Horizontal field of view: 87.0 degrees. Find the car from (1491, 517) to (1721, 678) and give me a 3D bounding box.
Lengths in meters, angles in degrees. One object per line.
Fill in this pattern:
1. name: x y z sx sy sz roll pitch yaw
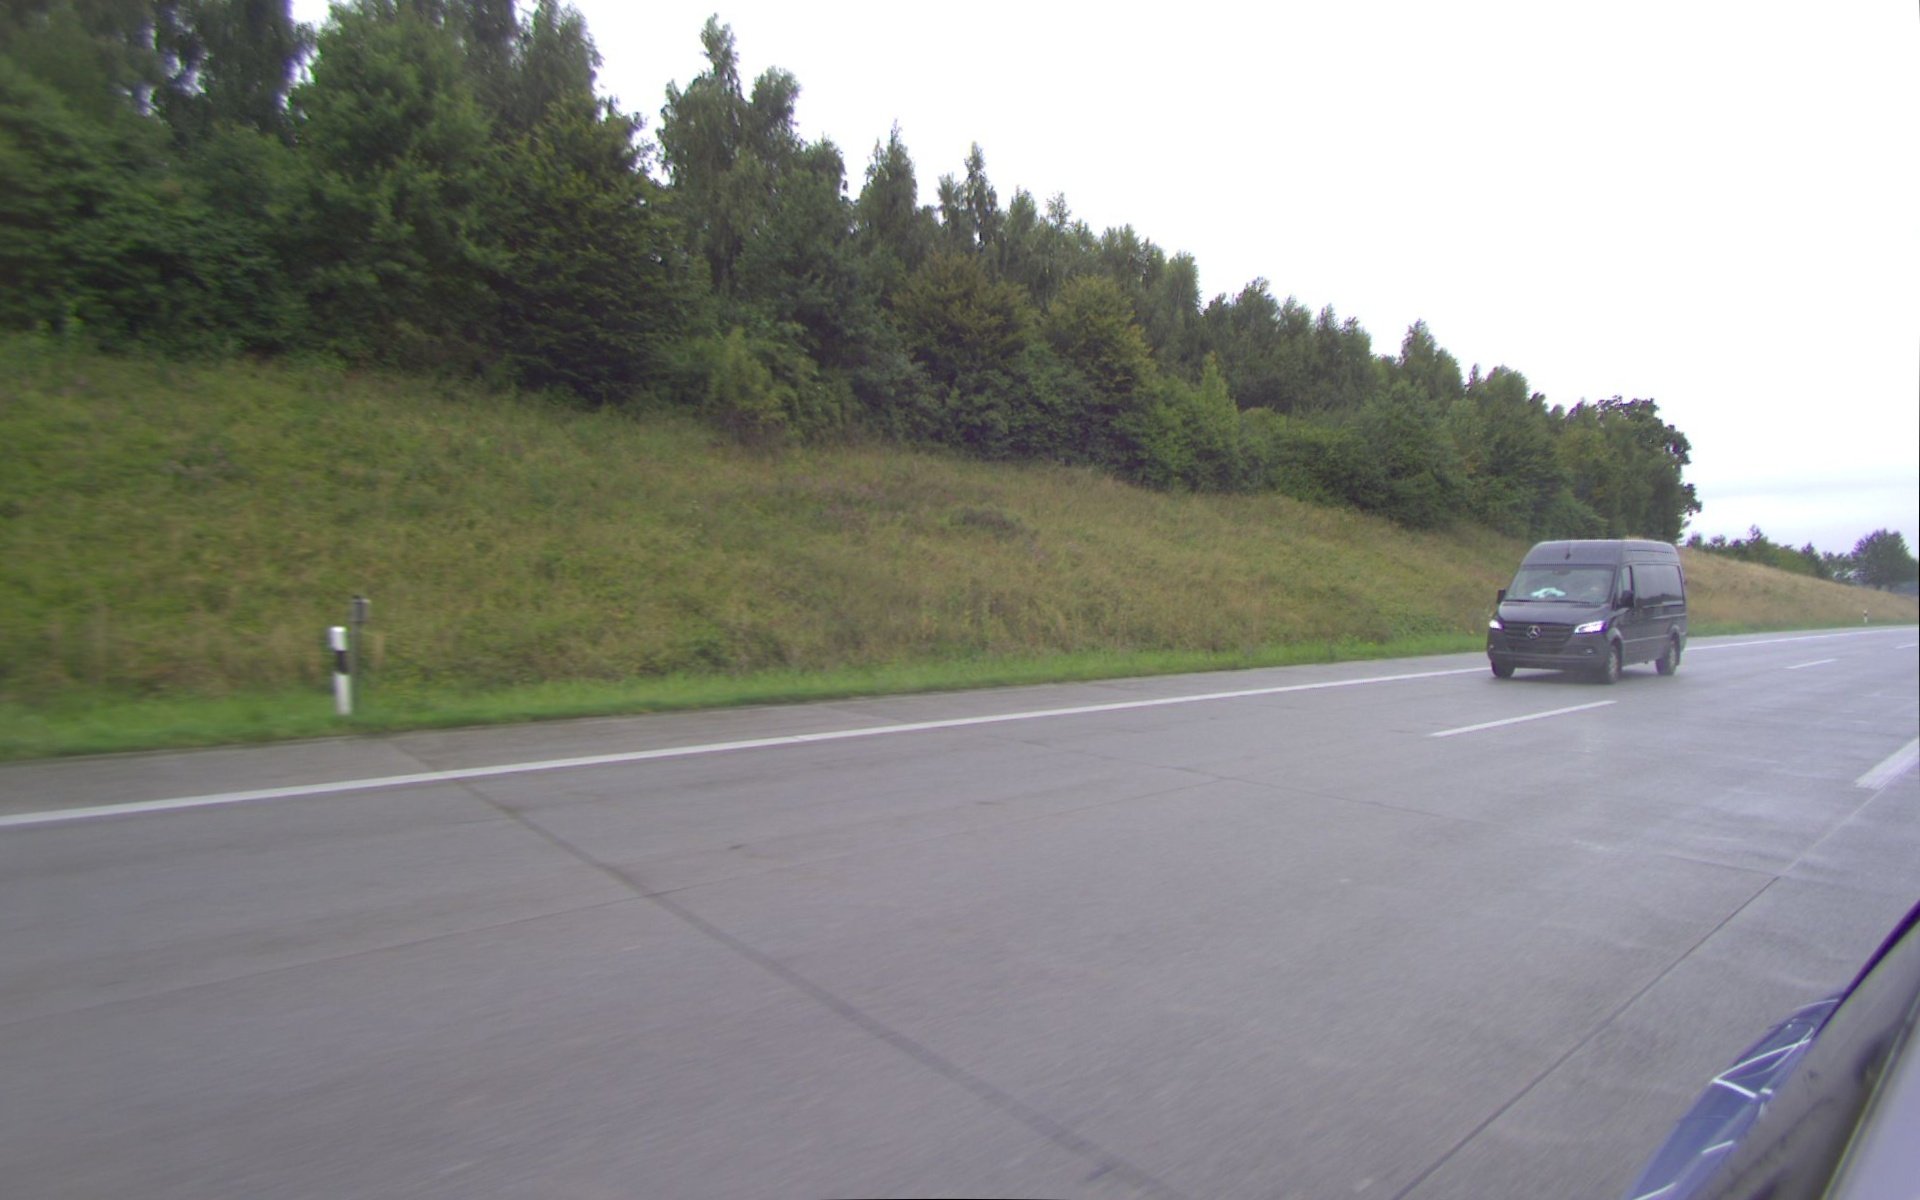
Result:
1. car: 12.723 -0.027 19.697 6.468 2.693 1.945 1 0 -40
